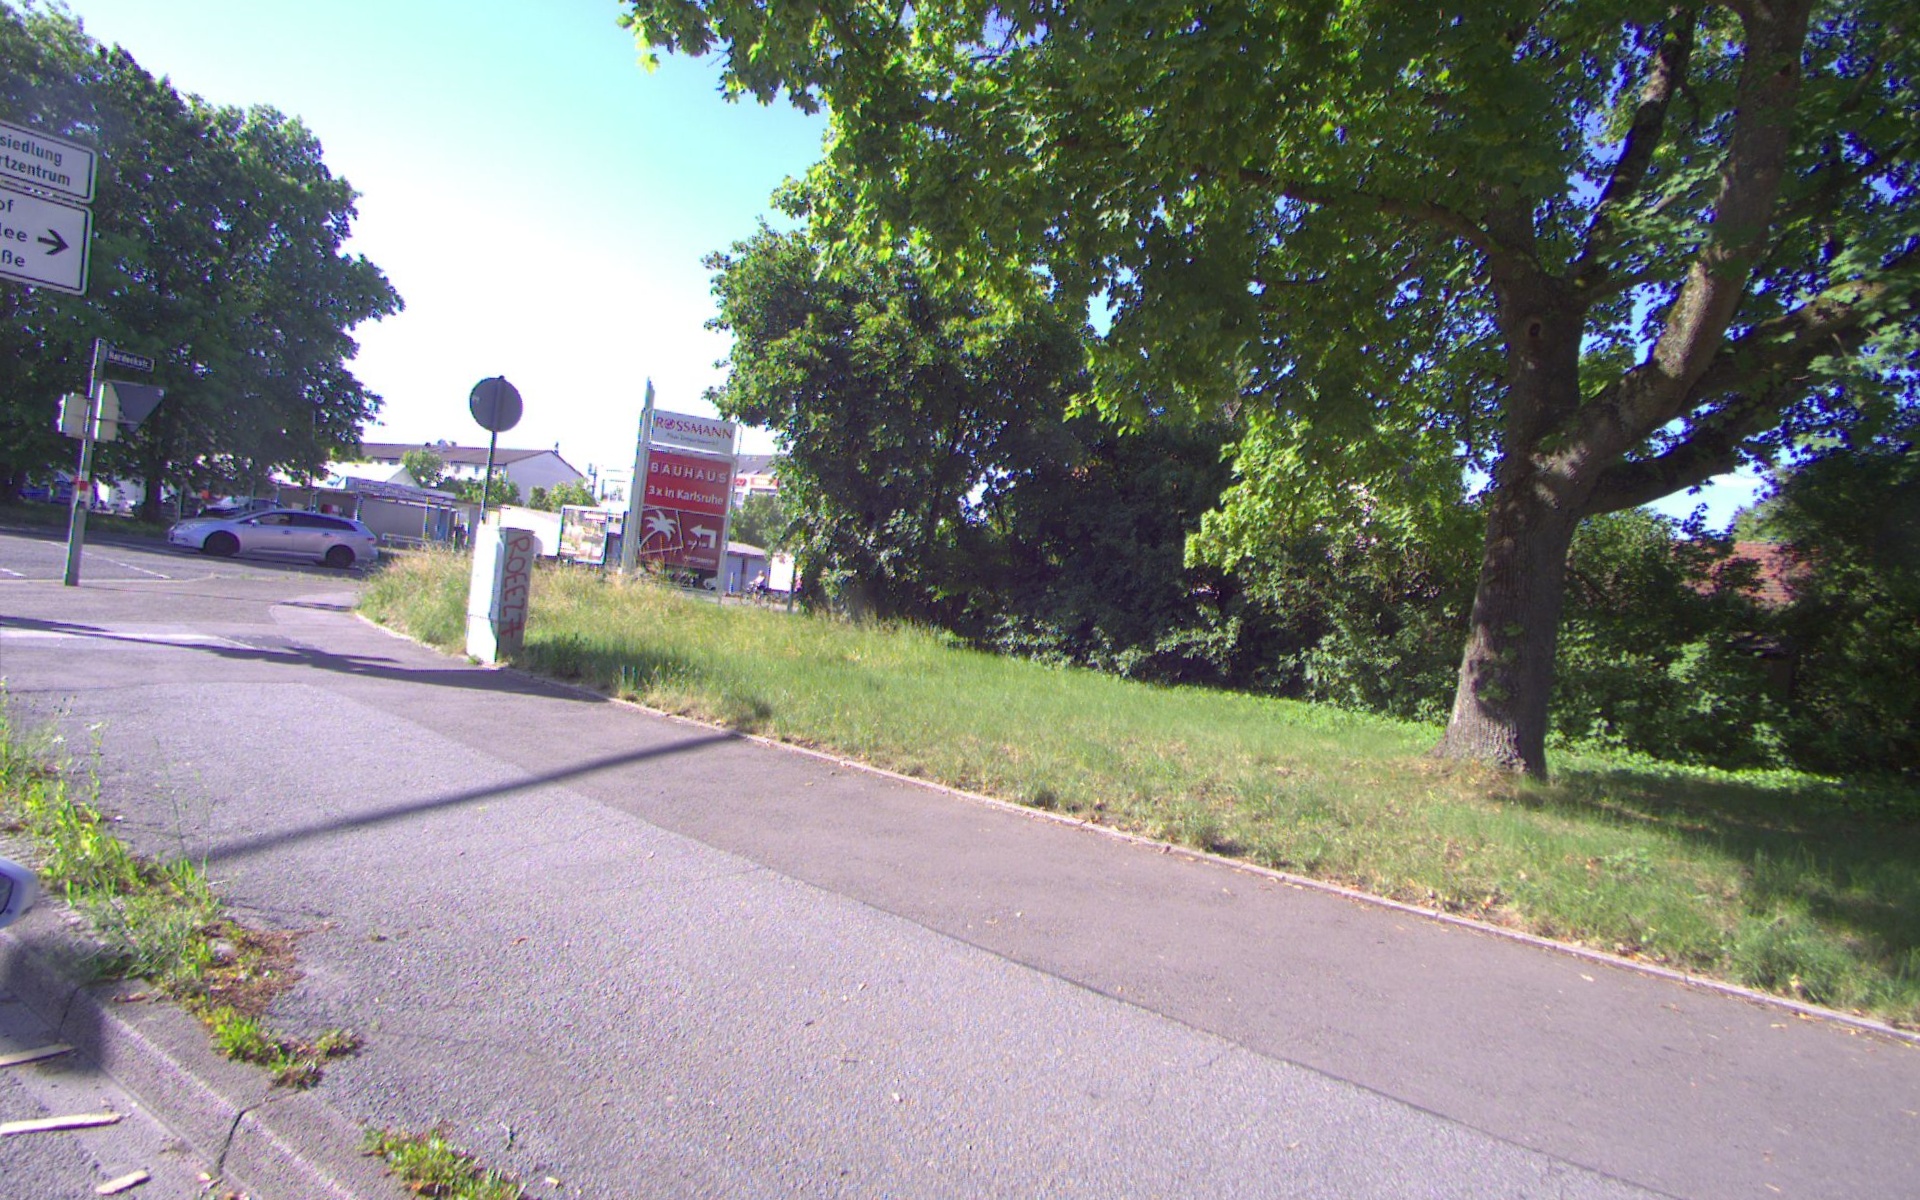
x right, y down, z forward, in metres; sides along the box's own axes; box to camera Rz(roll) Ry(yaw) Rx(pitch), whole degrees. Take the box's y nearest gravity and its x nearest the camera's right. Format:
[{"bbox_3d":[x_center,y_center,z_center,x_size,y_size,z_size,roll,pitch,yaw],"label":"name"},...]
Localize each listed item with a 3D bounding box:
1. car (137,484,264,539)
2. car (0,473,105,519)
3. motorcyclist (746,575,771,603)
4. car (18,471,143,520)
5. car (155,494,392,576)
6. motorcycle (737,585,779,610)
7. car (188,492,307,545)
[{"bbox_3d":[-32.343,-3.737,42.995,1.962,1.772,4.000,7,1,9],"label":"car"},{"bbox_3d":[-41.991,-4.772,46.158,1.712,1.537,3.902,7,0,9],"label":"car"},{"bbox_3d":[-9.246,-0.505,46.153,0.645,1.191,0.765,8,2,42],"label":"motorcyclist"},{"bbox_3d":[-39.181,-4.630,44.934,1.712,1.537,3.902,7,0,9],"label":"car"},{"bbox_3d":[-18.650,-1.736,27.528,1.973,1.504,4.994,7,0,43],"label":"car"},{"bbox_3d":[-9.258,-0.113,46.194,0.645,0.949,1.781,8,1,42],"label":"motorcycle"},{"bbox_3d":[-30.297,-3.430,42.919,1.712,1.701,4.001,7,0,9],"label":"car"}]
